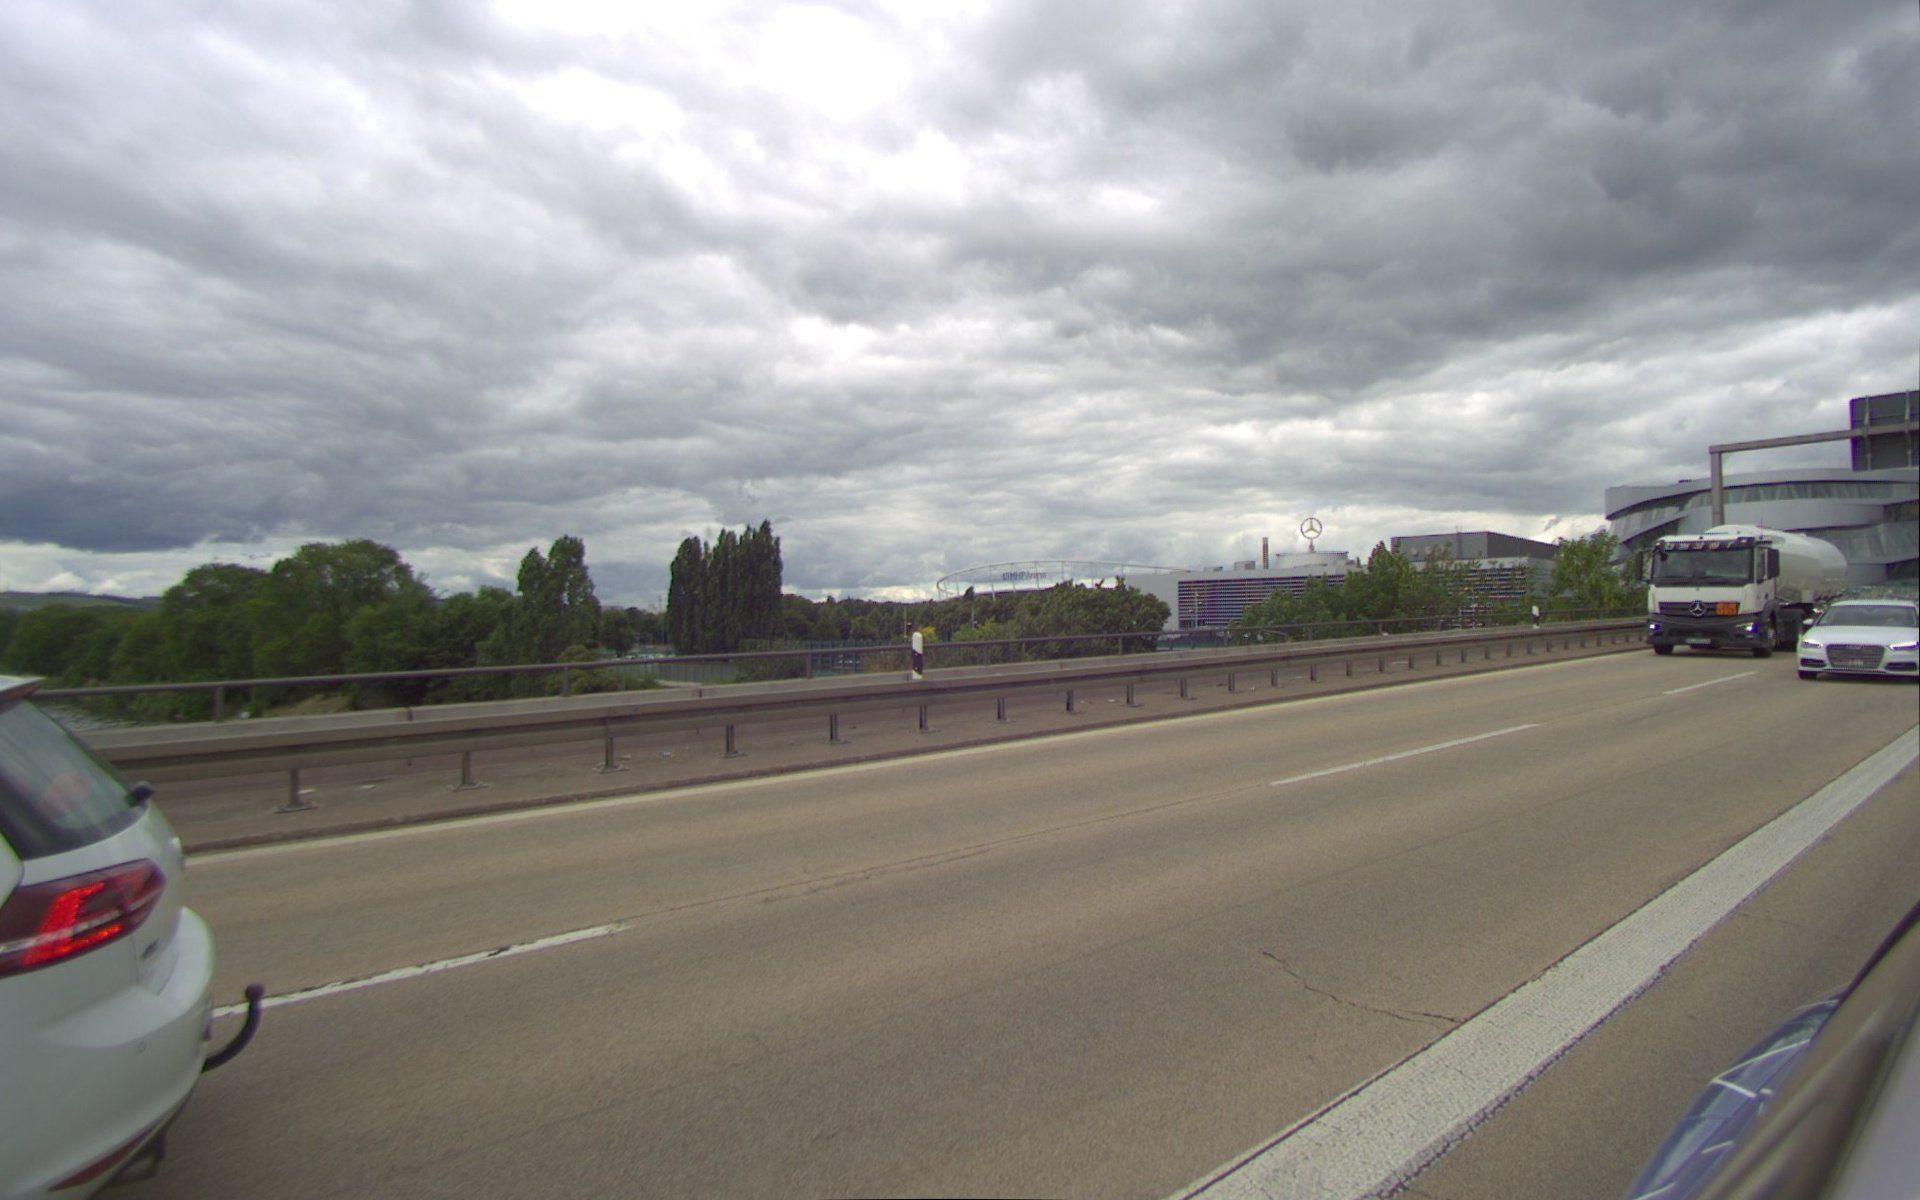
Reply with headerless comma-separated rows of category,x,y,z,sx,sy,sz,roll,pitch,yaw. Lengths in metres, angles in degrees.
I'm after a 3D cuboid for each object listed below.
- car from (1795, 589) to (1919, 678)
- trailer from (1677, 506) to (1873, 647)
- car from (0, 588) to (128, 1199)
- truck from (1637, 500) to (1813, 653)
car,17.017,0.548,18.591,3.861,1.470,1.848,0,0,-39
trailer,24.659,-0.675,30.311,11.024,3.588,2.655,-1,1,-41
car,-3.803,0.756,1.425,3.998,1.470,1.758,0,-2,-38
truck,19.754,-0.601,26.062,4.819,3.558,2.635,-1,1,-41
